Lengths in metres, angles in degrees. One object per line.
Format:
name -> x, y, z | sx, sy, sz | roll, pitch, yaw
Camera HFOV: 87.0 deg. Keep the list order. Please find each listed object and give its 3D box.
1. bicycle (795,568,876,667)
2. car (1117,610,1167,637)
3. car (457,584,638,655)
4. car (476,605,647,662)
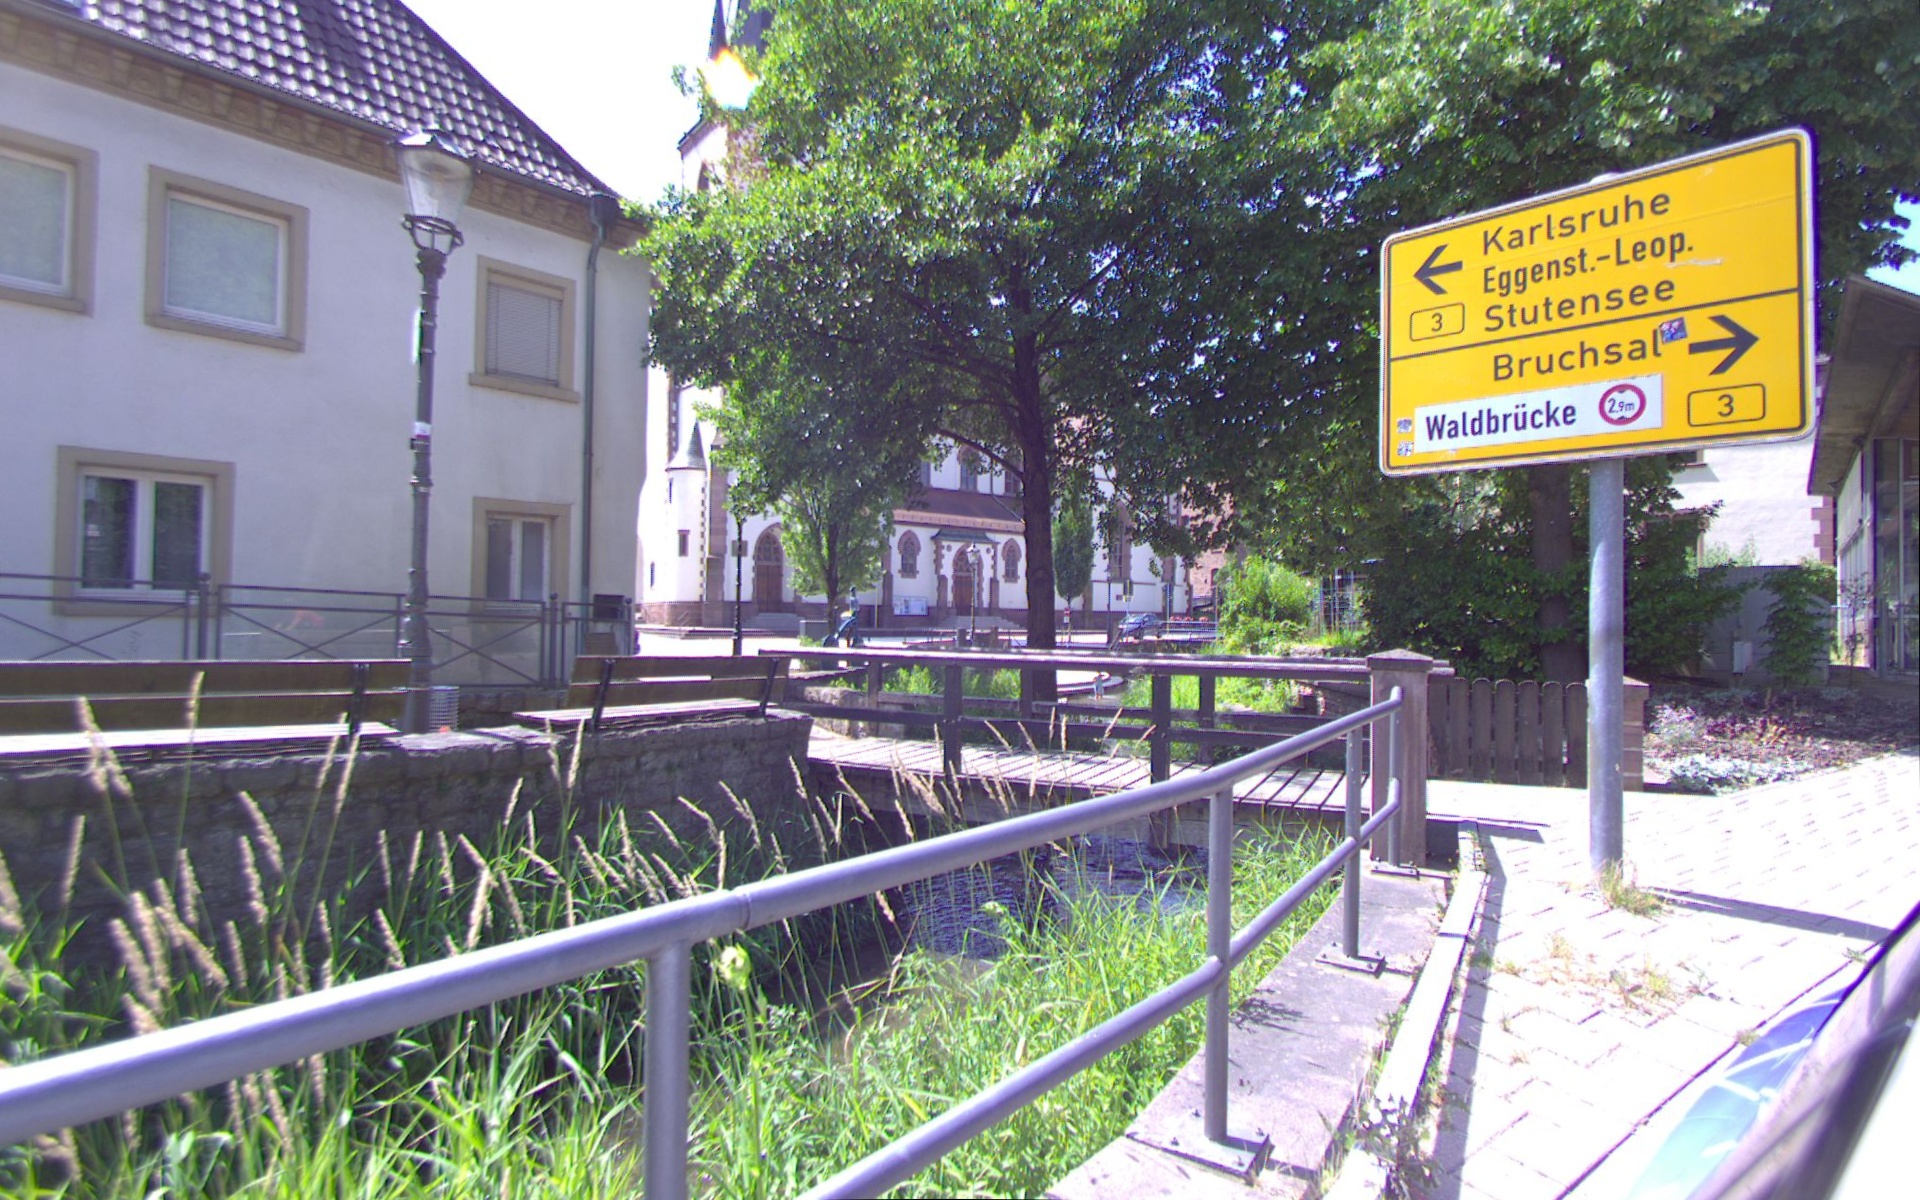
bicycle -> -2.720, 0.400, 22.498 | 0.772, 2.040, 2.653 | -3, -2, 15
car -> 10.649, 1.347, 58.993 | 1.657, 1.524, 3.769 | -1, -1, 31
car -> -13.301, 0.654, 32.773 | 5.025, 2.053, 1.959 | 4, -1, -35
car -> -11.866, 1.018, 30.288 | 4.453, 1.501, 1.589 | 4, -1, -35
